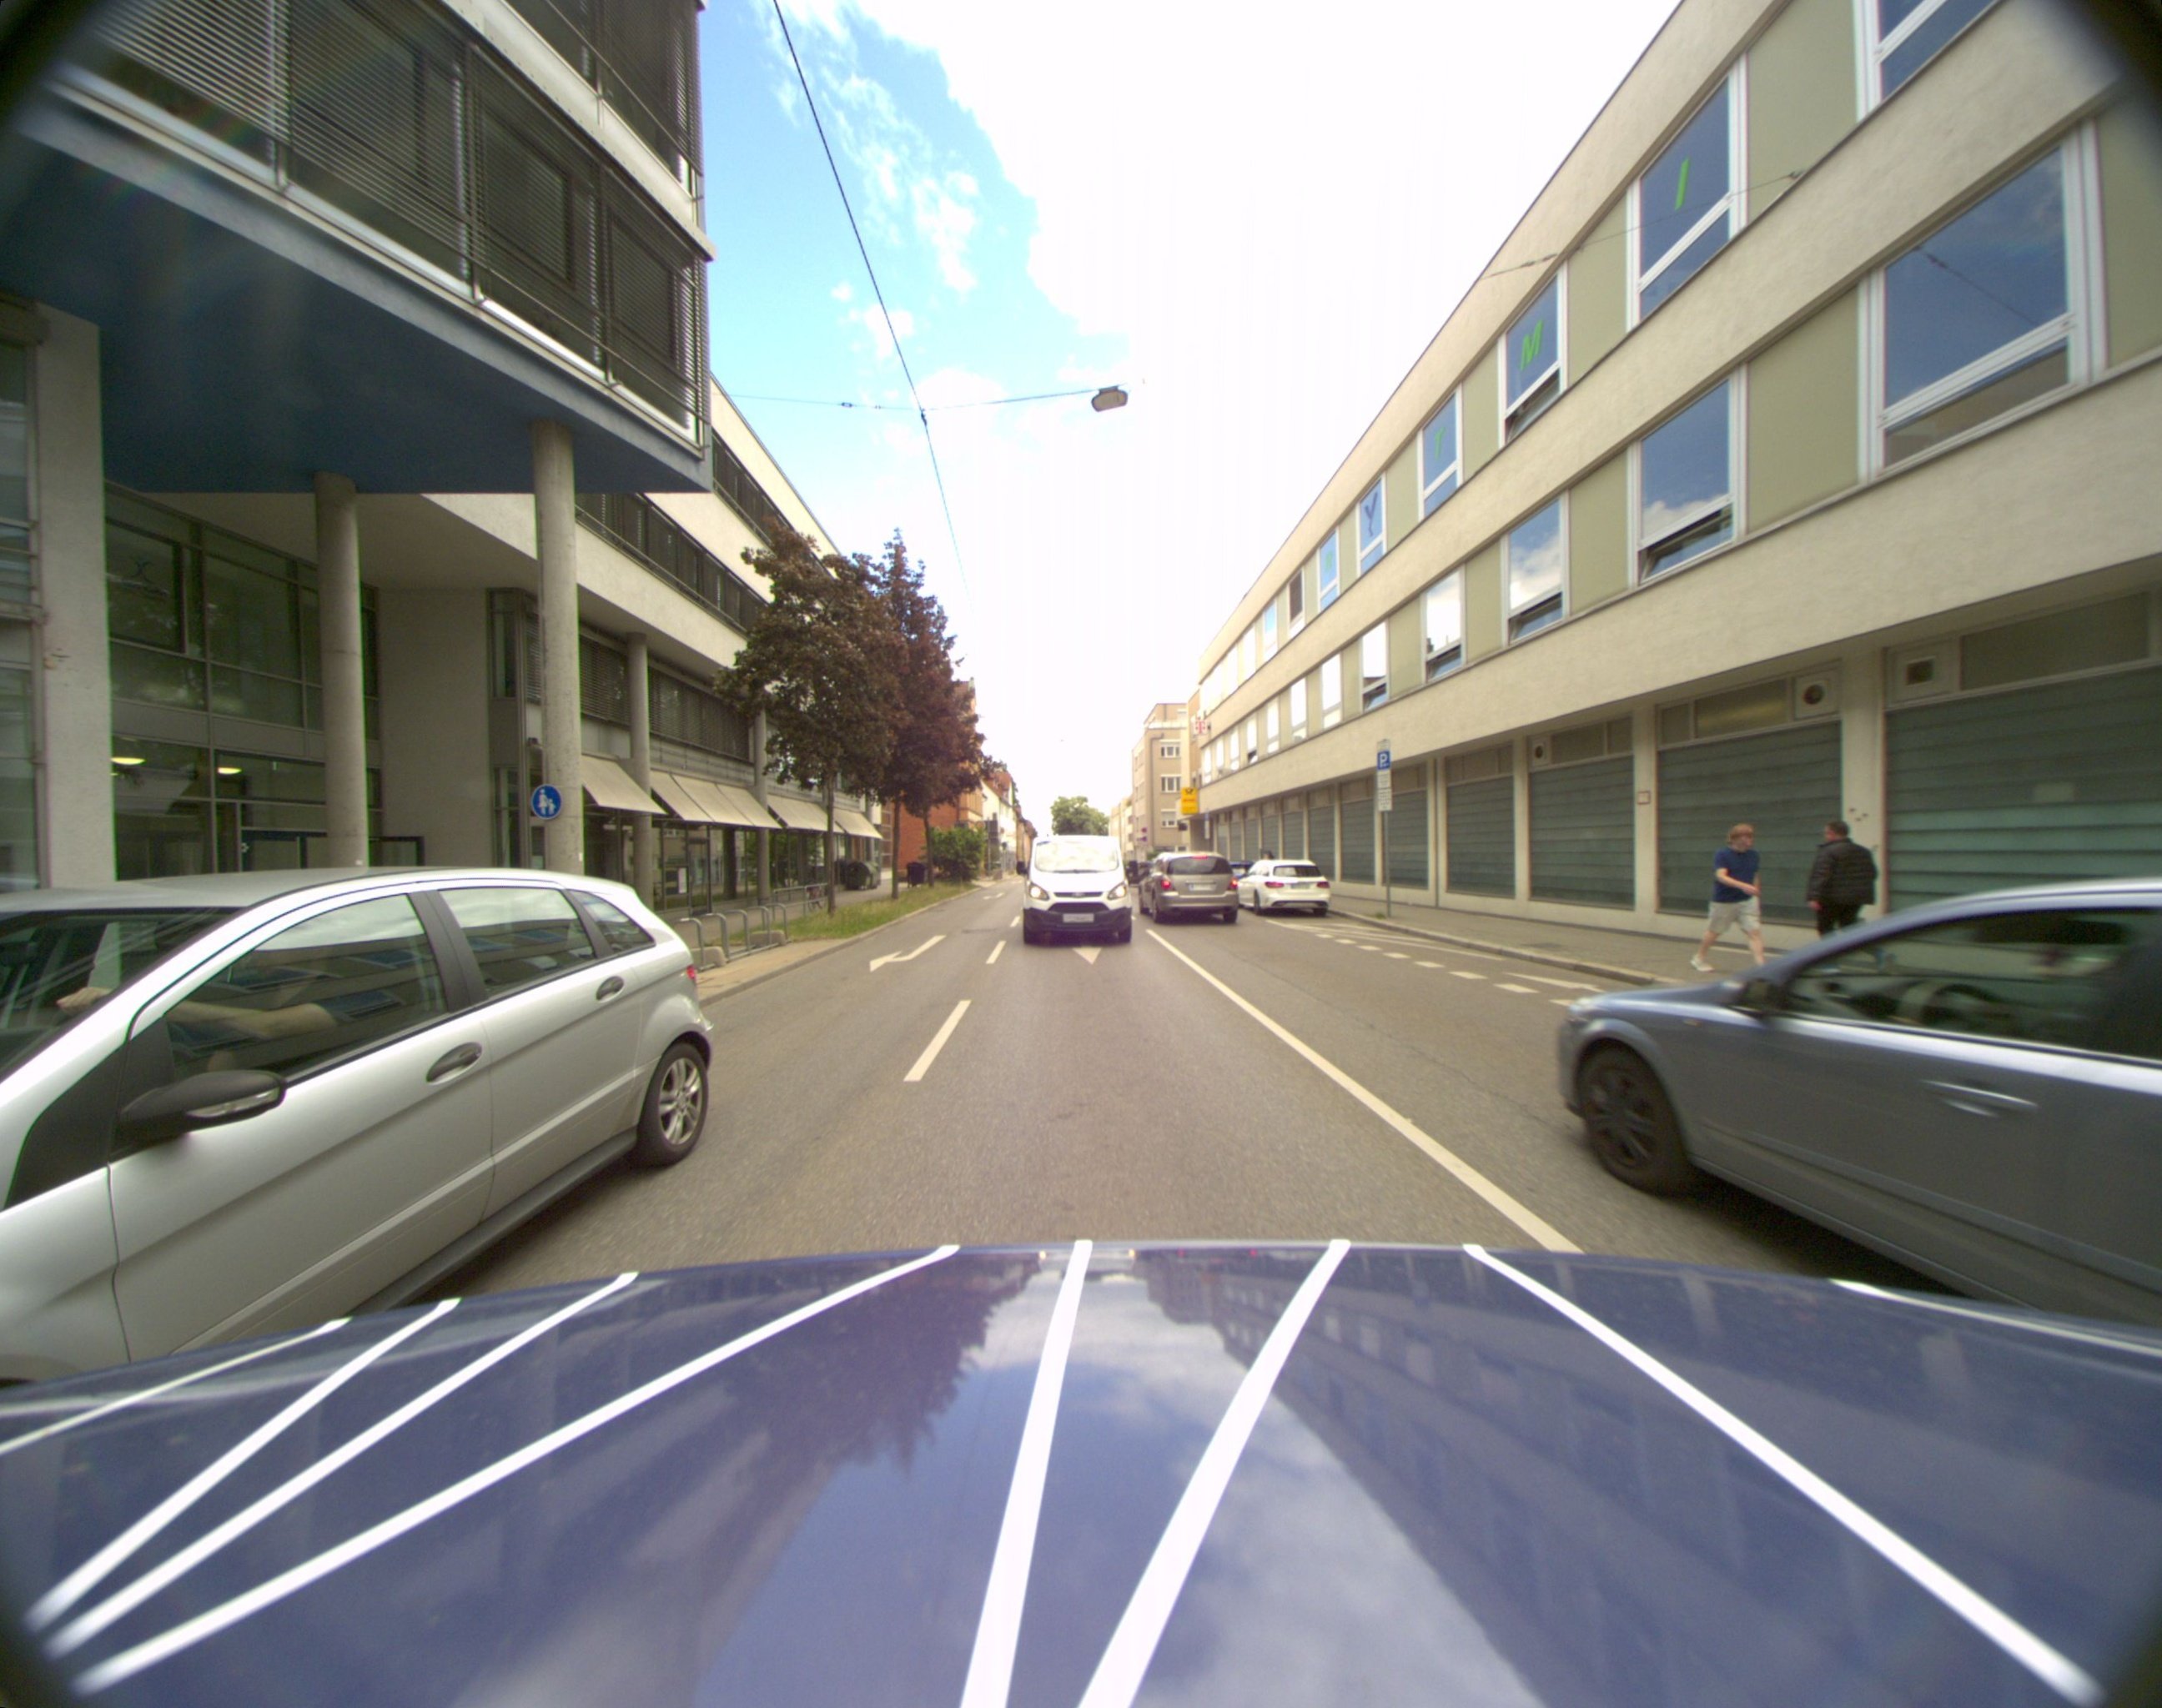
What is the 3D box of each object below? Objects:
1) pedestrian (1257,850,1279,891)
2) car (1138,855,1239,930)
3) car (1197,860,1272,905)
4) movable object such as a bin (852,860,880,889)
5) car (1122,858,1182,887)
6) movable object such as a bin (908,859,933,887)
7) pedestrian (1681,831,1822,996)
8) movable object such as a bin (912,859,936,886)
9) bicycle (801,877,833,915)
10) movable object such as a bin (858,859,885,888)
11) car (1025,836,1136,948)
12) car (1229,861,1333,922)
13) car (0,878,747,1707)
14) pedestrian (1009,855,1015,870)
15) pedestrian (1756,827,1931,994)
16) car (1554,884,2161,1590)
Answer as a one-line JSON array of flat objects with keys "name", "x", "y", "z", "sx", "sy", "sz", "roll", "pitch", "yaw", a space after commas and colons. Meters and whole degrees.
[{"name": "pedestrian", "x": 7.862, "y": 0.699, "z": 31.982, "sx": 0.592, "sy": 1.708, "sz": 0.648, "roll": -1, "pitch": 1, "yaw": -34}, {"name": "car", "x": 2.550, "y": 0.855, "z": 19.064, "sx": 1.780, "sy": 1.622, "sz": 4.767, "roll": 0, "pitch": 0, "yaw": -1}, {"name": "car", "x": 5.270, "y": 0.939, "z": 26.616, "sx": 1.819, "sy": 1.417, "sz": 4.264, "roll": 1, "pitch": 0, "yaw": 1}, {"name": "movable object such as a bin", "x": -10.820, "y": 1.018, "z": 38.235, "sx": 1.101, "sy": 1.457, "sz": 1.332, "roll": 0, "pitch": 0, "yaw": -3}, {"name": "car", "x": 3.697, "y": 0.934, "z": 40.367, "sx": 1.658, "sy": 1.390, "sz": 4.447, "roll": -1, "pitch": 1, "yaw": -17}, {"name": "movable object such as a bin", "x": -8.691, "y": 1.013, "z": 41.250, "sx": 1.130, "sy": 1.457, "sz": 1.412, "roll": 0, "pitch": 0, "yaw": -3}, {"name": "pedestrian", "x": 7.373, "y": 0.617, "z": 8.409, "sx": 0.591, "sy": 1.708, "sz": 1.055, "roll": -1, "pitch": 0, "yaw": -3}, {"name": "movable object such as a bin", "x": -8.790, "y": 1.009, "z": 42.619, "sx": 1.101, "sy": 1.457, "sz": 1.332, "roll": 0, "pitch": 0, "yaw": -3}, {"name": "bicycle", "x": -8.366, "y": 1.304, "z": 24.142, "sx": 0.362, "sy": 1.080, "sz": 2.027, "roll": -2, "pitch": 0, "yaw": -3}, {"name": "movable object such as a bin", "x": -10.902, "y": 1.009, "z": 39.593, "sx": 1.125, "sy": 1.457, "sz": 1.332, "roll": 0, "pitch": 0, "yaw": -3}, {"name": "car", "x": -0.176, "y": 0.682, "z": 16.195, "sx": 1.965, "sy": 1.986, "sz": 5.085, "roll": -1, "pitch": 0, "yaw": -4}, {"name": "car", "x": 5.352, "y": 0.939, "z": 20.899, "sx": 1.674, "sy": 1.425, "sz": 4.552, "roll": 1, "pitch": 0, "yaw": 0}, {"name": "car", "x": -3.111, "y": 0.981, "z": 2.486, "sx": 1.999, "sy": 1.537, "sz": 4.570, "roll": -3, "pitch": 0, "yaw": -1}, {"name": "pedestrian", "x": -7.659, "y": 0.956, "z": 84.434, "sx": 0.690, "sy": 1.721, "sz": 0.649, "roll": -1, "pitch": 1, "yaw": -4}, {"name": "pedestrian", "x": 8.446, "y": 0.590, "z": 8.466, "sx": 0.864, "sy": 1.708, "sz": 1.031, "roll": -2, "pitch": 1, "yaw": -4}, {"name": "car", "x": 3.196, "y": 0.881, "z": 1.810, "sx": 1.661, "sy": 1.457, "sz": 3.920, "roll": 0, "pitch": 0, "yaw": -1}]
